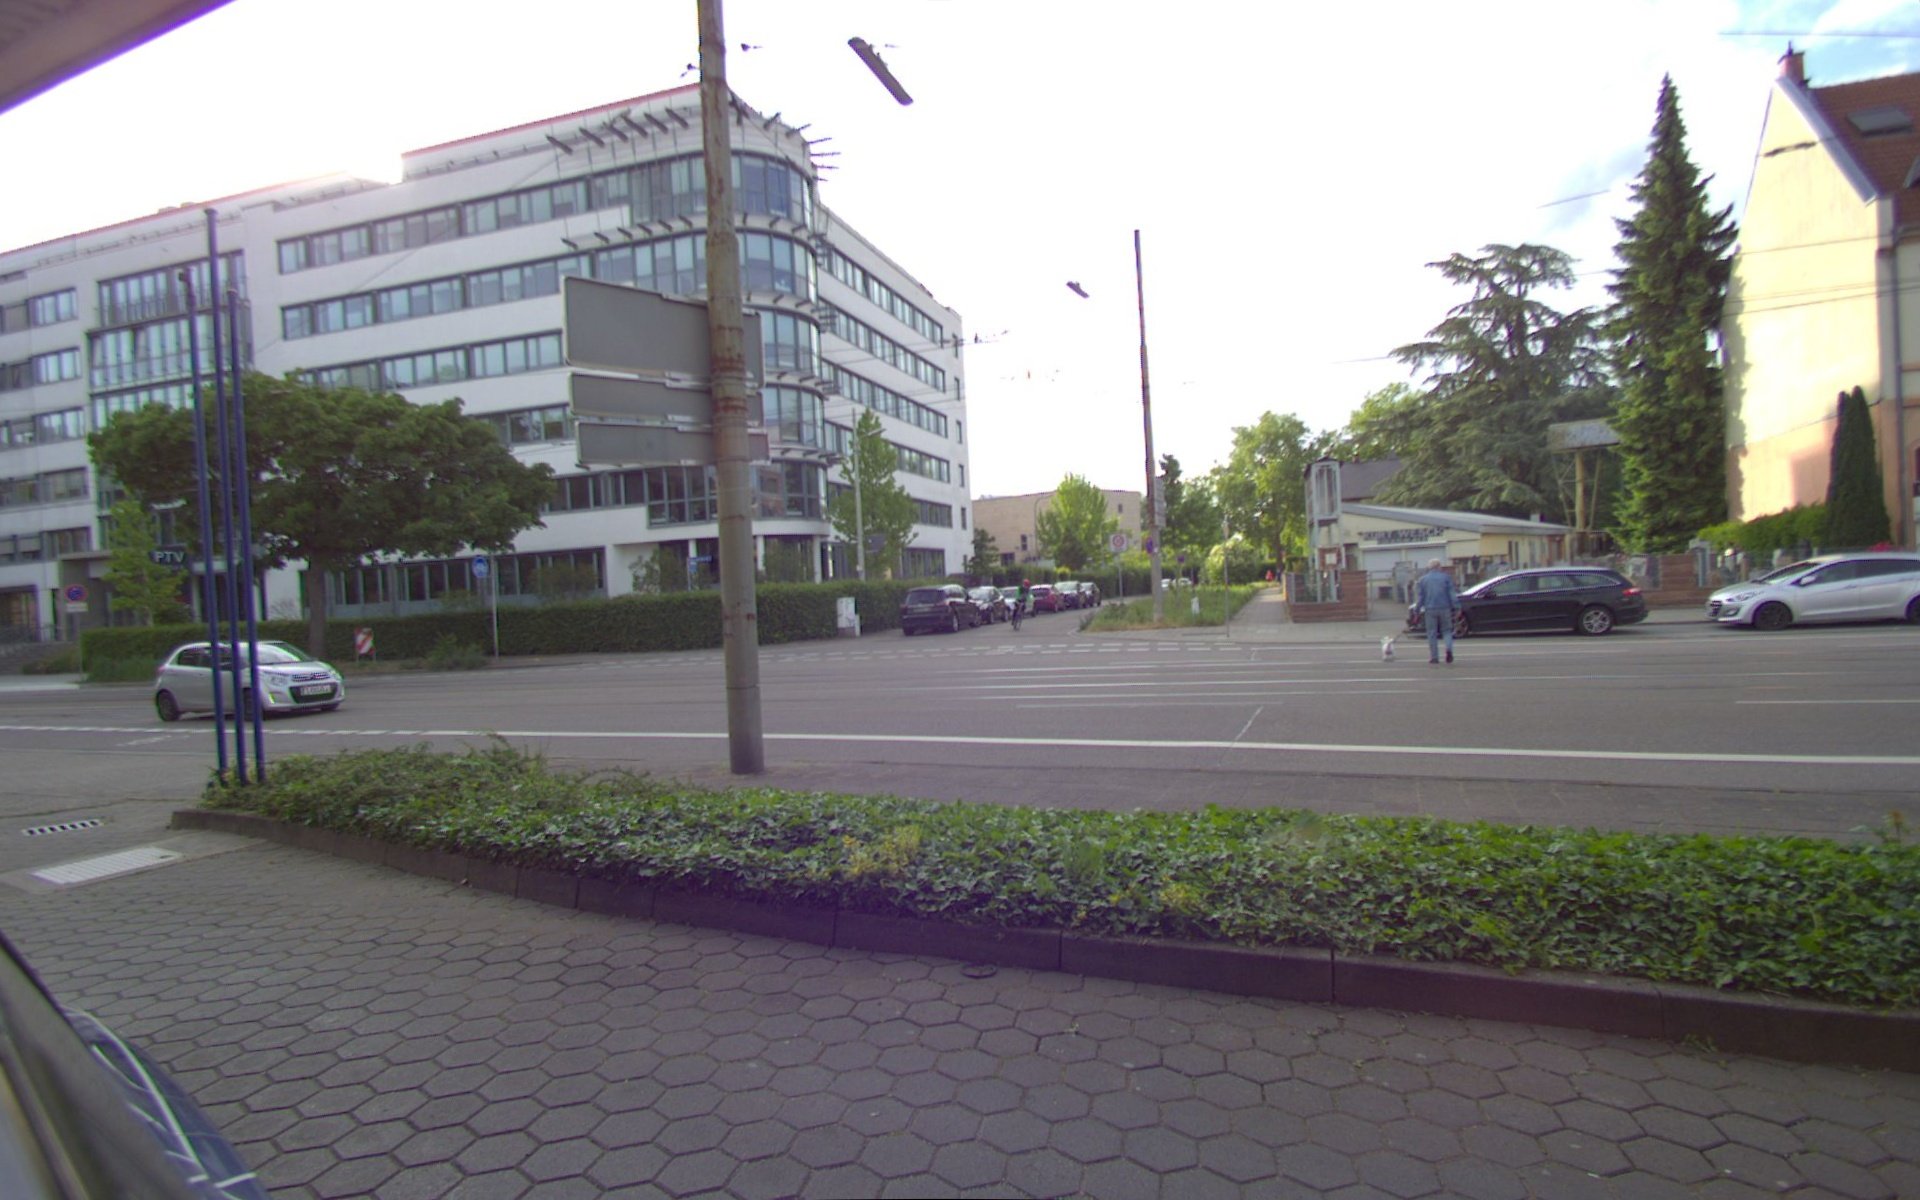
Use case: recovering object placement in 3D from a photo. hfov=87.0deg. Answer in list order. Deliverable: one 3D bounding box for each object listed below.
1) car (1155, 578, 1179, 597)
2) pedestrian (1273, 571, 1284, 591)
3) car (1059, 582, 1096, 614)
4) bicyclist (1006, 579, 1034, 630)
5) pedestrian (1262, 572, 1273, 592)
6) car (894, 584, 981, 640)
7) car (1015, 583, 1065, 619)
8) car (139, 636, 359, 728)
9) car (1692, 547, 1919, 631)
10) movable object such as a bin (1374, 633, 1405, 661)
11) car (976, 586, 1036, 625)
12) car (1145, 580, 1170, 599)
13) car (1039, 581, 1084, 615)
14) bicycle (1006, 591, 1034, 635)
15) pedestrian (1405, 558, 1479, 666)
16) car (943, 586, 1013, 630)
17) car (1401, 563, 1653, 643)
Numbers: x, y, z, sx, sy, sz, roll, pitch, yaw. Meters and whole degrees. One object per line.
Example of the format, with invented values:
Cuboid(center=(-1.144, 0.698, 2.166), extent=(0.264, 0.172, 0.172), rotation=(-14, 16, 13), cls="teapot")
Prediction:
Cuboid(center=(21.693, -1.327, 106.161), extent=(1.849, 1.748, 4.246), rotation=(-3, 0, 19), cls="car")
Cuboid(center=(30.354, -1.820, 96.403), extent=(0.899, 1.865, 0.942), rotation=(-3, -1, 20), cls="pedestrian")
Cuboid(center=(7.295, -0.155, 62.493), extent=(1.731, 1.748, 4.030), rotation=(-3, 0, 13), cls="car")
Cuboid(center=(2.021, 0.141, 34.136), extent=(0.855, 1.617, 1.027), rotation=(-3, 3, 5), cls="bicyclist")
Cuboid(center=(29.357, -1.754, 96.622), extent=(0.899, 1.865, 0.942), rotation=(-3, -1, 20), cls="pedestrian")
Cuboid(center=(-0.718, 0.364, 35.413), extent=(1.994, 1.704, 4.274), rotation=(-3, 1, 13), cls="car")
Cuboid(center=(4.182, 0.027, 52.490), extent=(1.929, 1.650, 4.274), rotation=(-3, 0, 13), cls="car")
Cuboid(center=(-13.318, 1.530, 18.989), extent=(3.402, 1.443, 1.679), rotation=(-3, 2, 20), cls="car")
Cuboid(center=(18.431, -0.243, 21.380), extent=(4.424, 1.494, 1.713), rotation=(-3, 1, 21), cls="car")
Cuboid(center=(7.578, 0.832, 17.836), extent=(0.478, 0.424, 0.674), rotation=(-3, 1, 24), cls="movable object such as a bin")
Cuboid(center=(2.149, 0.218, 45.784), extent=(1.929, 1.530, 4.274), rotation=(-3, 0, 13), cls="car")
Cuboid(center=(19.702, -1.078, 100.791), extent=(1.849, 1.748, 4.247), rotation=(-3, 0, 19), cls="car")
Cuboid(center=(5.841, -0.145, 57.719), extent=(1.929, 1.748, 4.512), rotation=(-3, 0, 13), cls="car")
Cuboid(center=(2.037, 0.430, 34.234), extent=(0.855, 1.320, 1.917), rotation=(-3, 3, 4), cls="bicycle")
Cuboid(center=(7.863, 0.183, 16.493), extent=(0.999, 1.680, 0.962), rotation=(-2, 1, 28), cls="pedestrian")
Cuboid(center=(0.801, 0.294, 40.973), extent=(1.929, 1.551, 4.274), rotation=(-3, 0, 13), cls="car")
Cuboid(center=(12.920, 0.057, 23.441), extent=(4.742, 1.511, 2.001), rotation=(-3, 1, 21), cls="car")
